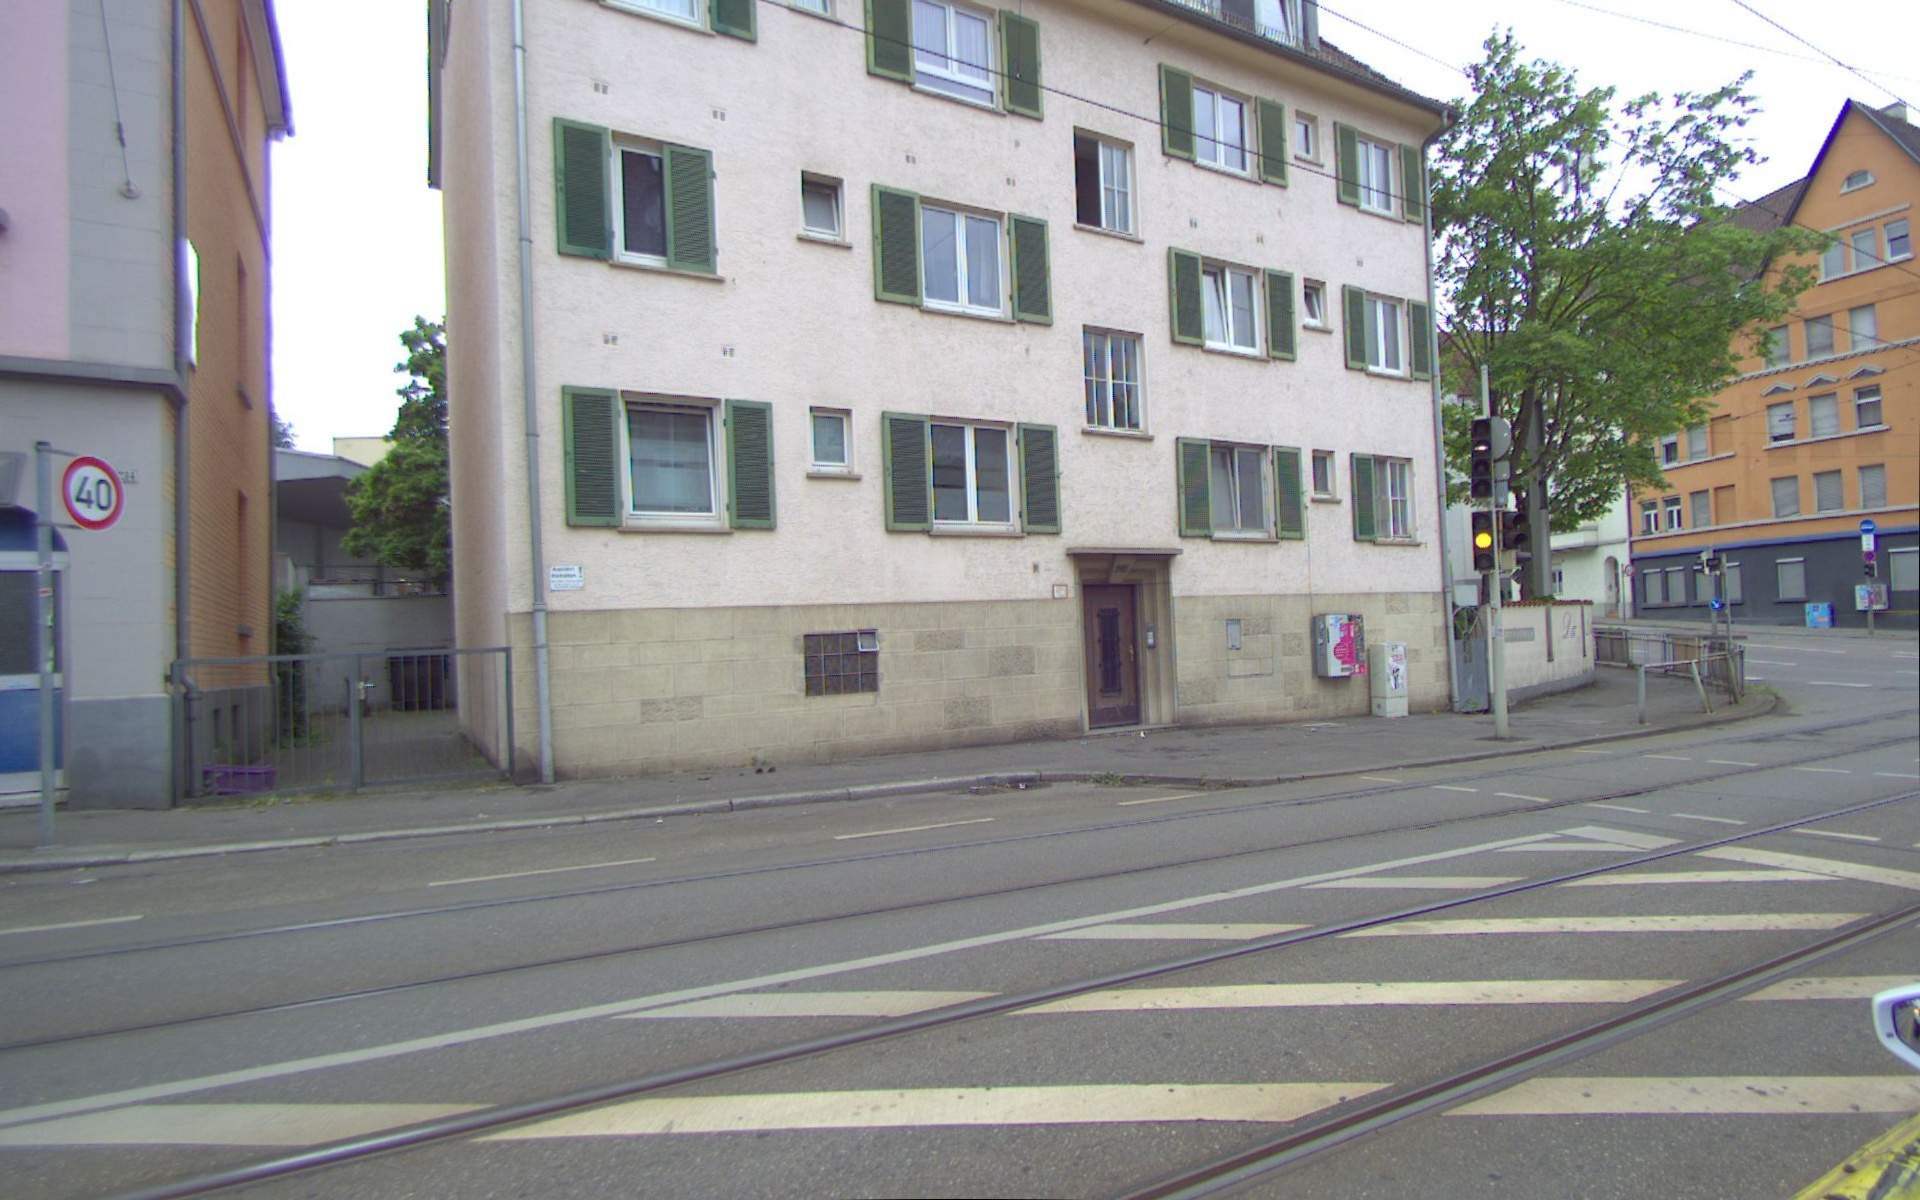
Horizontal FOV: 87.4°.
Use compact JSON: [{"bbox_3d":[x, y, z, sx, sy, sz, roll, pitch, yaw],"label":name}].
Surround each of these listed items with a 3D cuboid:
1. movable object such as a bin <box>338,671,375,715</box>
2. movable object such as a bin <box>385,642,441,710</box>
[{"bbox_3d":[-13.343,2.045,22.231,0.693,0.897,0.677,0,-1,-30],"label":"movable object such as a bin"},{"bbox_3d":[-12.747,1.744,23.400,1.132,1.490,1.079,0,-1,-30],"label":"movable object such as a bin"}]
